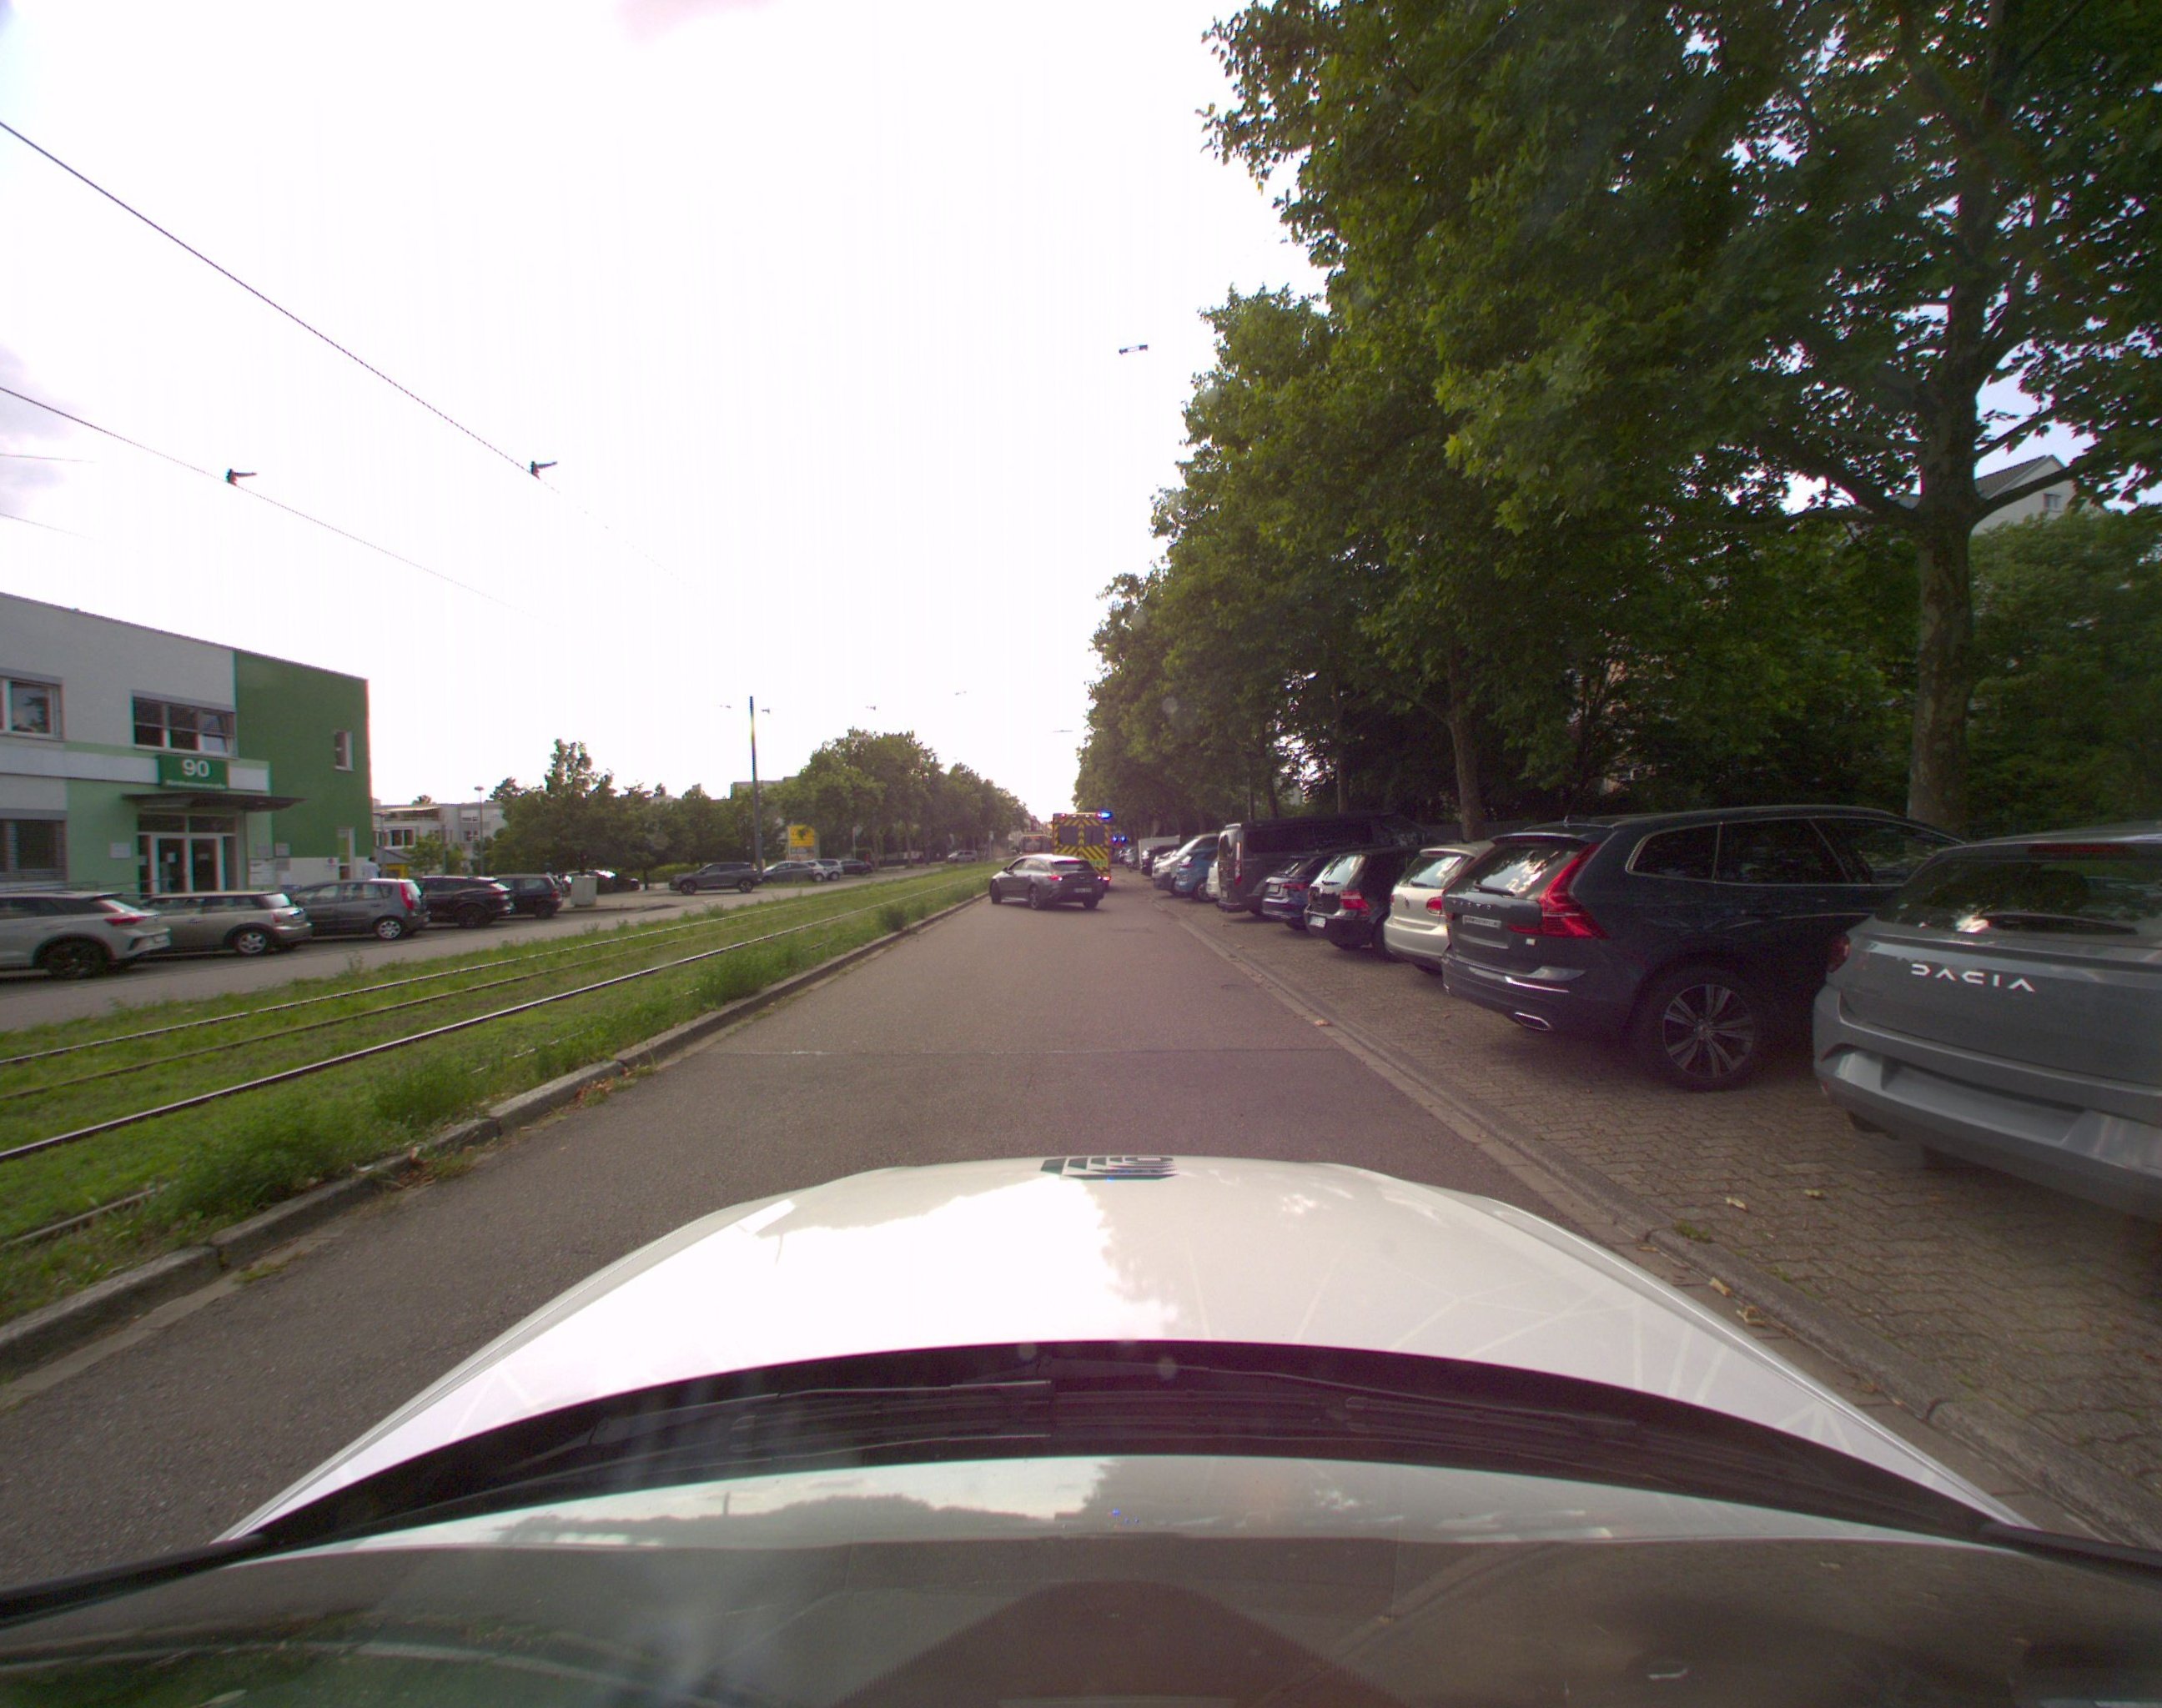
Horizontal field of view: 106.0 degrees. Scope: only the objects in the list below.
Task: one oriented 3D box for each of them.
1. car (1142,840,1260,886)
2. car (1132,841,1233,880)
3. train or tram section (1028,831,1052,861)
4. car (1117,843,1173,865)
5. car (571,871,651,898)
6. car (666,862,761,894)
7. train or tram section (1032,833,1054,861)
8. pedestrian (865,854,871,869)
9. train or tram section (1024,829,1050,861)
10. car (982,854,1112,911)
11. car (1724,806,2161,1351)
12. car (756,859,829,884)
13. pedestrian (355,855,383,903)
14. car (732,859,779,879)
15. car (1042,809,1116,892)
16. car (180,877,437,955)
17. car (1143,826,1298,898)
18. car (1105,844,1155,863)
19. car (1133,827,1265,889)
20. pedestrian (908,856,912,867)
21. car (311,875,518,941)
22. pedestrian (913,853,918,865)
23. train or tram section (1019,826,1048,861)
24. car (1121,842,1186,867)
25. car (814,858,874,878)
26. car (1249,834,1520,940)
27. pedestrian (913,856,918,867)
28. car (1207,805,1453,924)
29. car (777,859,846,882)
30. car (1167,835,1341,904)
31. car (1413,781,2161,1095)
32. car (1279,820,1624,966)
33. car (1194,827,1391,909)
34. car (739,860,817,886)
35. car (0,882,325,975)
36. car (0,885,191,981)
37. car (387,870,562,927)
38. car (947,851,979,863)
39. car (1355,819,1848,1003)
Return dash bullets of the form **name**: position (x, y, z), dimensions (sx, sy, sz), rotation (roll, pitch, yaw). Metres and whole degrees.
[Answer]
- **car**: position (4.974, 0.359, 34.170), dimensions (4.537, 1.608, 1.853), rotation (-3, 0, -4)
- **car**: position (4.855, 0.314, 39.326), dimensions (4.537, 1.608, 1.853), rotation (-3, 0, -4)
- **train or tram section**: position (-5.137, -0.937, 104.040), dimensions (2.504, 3.584, 7.443), rotation (-3, 0, 0)
- **car**: position (5.533, -0.008, 70.738), dimensions (4.537, 1.608, 1.853), rotation (-3, 0, -4)
- **car**: position (-29.482, 1.906, 51.172), dimensions (3.971, 1.565, 1.778), rotation (0, -1, 2)
- **car**: position (-18.412, 1.173, 40.899), dimensions (4.242, 1.482, 1.868), rotation (-1, 0, -25)
- **train or tram section**: position (-5.122, -0.875, 111.481), dimensions (2.504, 3.584, 7.443), rotation (-3, 0, 0)
- **pedestrian**: position (-23.360, 0.805, 89.294), dimensions (0.465, 1.676, 0.603), rotation (-2, 0, -2)
- **train or tram section**: position (-5.144, -0.999, 96.595), dimensions (2.504, 3.584, 7.443), rotation (-3, 0, 0)
- **car**: position (-1.049, 0.716, 22.514), dimensions (1.772, 1.385, 4.425), rotation (0, 0, -30)
- **car**: position (5.213, 0.528, 2.914), dimensions (4.364, 1.501, 1.757), rotation (-3, 0, 1)
- **car**: position (-19.091, 1.121, 53.936), dimensions (4.253, 1.482, 1.863), rotation (-1, 0, -36)
- **pedestrian**: position (-27.674, 0.949, 31.647), dimensions (0.544, 1.828, 0.508), rotation (-2, 0, -2)
- **car**: position (-29.743, 1.375, 74.478), dimensions (3.949, 1.750, 2.013), rotation (0, 0, 31)
- **car**: position (0.033, -0.140, 32.702), dimensions (2.631, 2.966, 6.302), rotation (1, 0, 2)
- **car**: position (-18.985, 1.459, 20.318), dimensions (4.247, 1.482, 1.866), rotation (-3, 1, -29)
- **car**: position (4.407, 0.232, 26.101), dimensions (4.537, 2.000, 1.853), rotation (-3, 0, -4)
- **car**: position (4.733, -0.067, 78.969), dimensions (4.537, 1.608, 1.853), rotation (-3, 0, -4)
- **car**: position (4.384, 0.148, 30.695), dimensions (4.537, 2.043, 1.853), rotation (-3, 0, -4)
- **pedestrian**: position (-21.705, 0.960, 103.384), dimensions (0.420, 1.473, 0.467), rotation (-2, 0, -5)
- **car**: position (-18.876, 1.472, 23.346), dimensions (4.247, 1.482, 1.866), rotation (-3, 1, -29)
- **pedestrian**: position (-23.105, 0.692, 113.785), dimensions (0.631, 1.551, 0.621), rotation (-2, 0, -3)
- **train or tram section**: position (-5.143, -1.061, 89.164), dimensions (2.504, 3.584, 7.443), rotation (-3, 0, 0)
- **car**: position (5.415, 0.039, 60.887), dimensions (4.537, 1.608, 1.853), rotation (-3, 0, -4)
- **car**: position (-18.938, 1.109, 65.166), dimensions (4.256, 1.482, 1.861), rotation (-1, 0, -40)
- **car**: position (5.078, 0.528, 14.006), dimensions (3.953, 1.494, 1.755), rotation (-3, 0, -1)
- **pedestrian**: position (-21.421, 0.931, 105.262), dimensions (0.417, 1.414, 0.470), rotation (-2, 0, 25)
- **car**: position (5.094, 0.200, 17.117), dimensions (4.532, 2.123, 1.855), rotation (-3, 0, -1)
- **car**: position (-18.825, 1.107, 56.962), dimensions (4.253, 1.482, 1.863), rotation (-1, 0, -36)
- **car**: position (4.925, 0.418, 23.567), dimensions (4.538, 1.660, 1.853), rotation (-3, 0, -5)
- **car**: position (4.836, 0.468, 5.576), dimensions (4.364, 1.639, 1.757), rotation (-3, 0, 1)
- **car**: position (4.967, 0.461, 11.148), dimensions (3.967, 1.605, 1.750), rotation (-3, 0, -11)
- **car**: position (5.355, 0.341, 21.036), dimensions (4.532, 1.766, 1.855), rotation (-3, 0, -1)
- **car**: position (-18.951, 1.180, 51.034), dimensions (4.253, 1.482, 1.863), rotation (-1, 0, -36)
- **car**: position (-19.235, 1.489, 17.316), dimensions (4.247, 1.482, 1.866), rotation (-3, 1, -29)
- **car**: position (-19.124, 1.443, 14.352), dimensions (4.252, 1.482, 1.863), rotation (-3, 1, -34)
- **car**: position (-19.447, 1.381, 26.382), dimensions (4.247, 1.482, 1.866), rotation (-3, 1, -29)
- **car**: position (-18.750, 0.455, 129.699), dimensions (4.651, 1.633, 1.861), rotation (-3, 0, -39)
- **car**: position (5.134, 0.522, 8.426), dimensions (3.953, 1.494, 1.755), rotation (-3, 0, -1)
